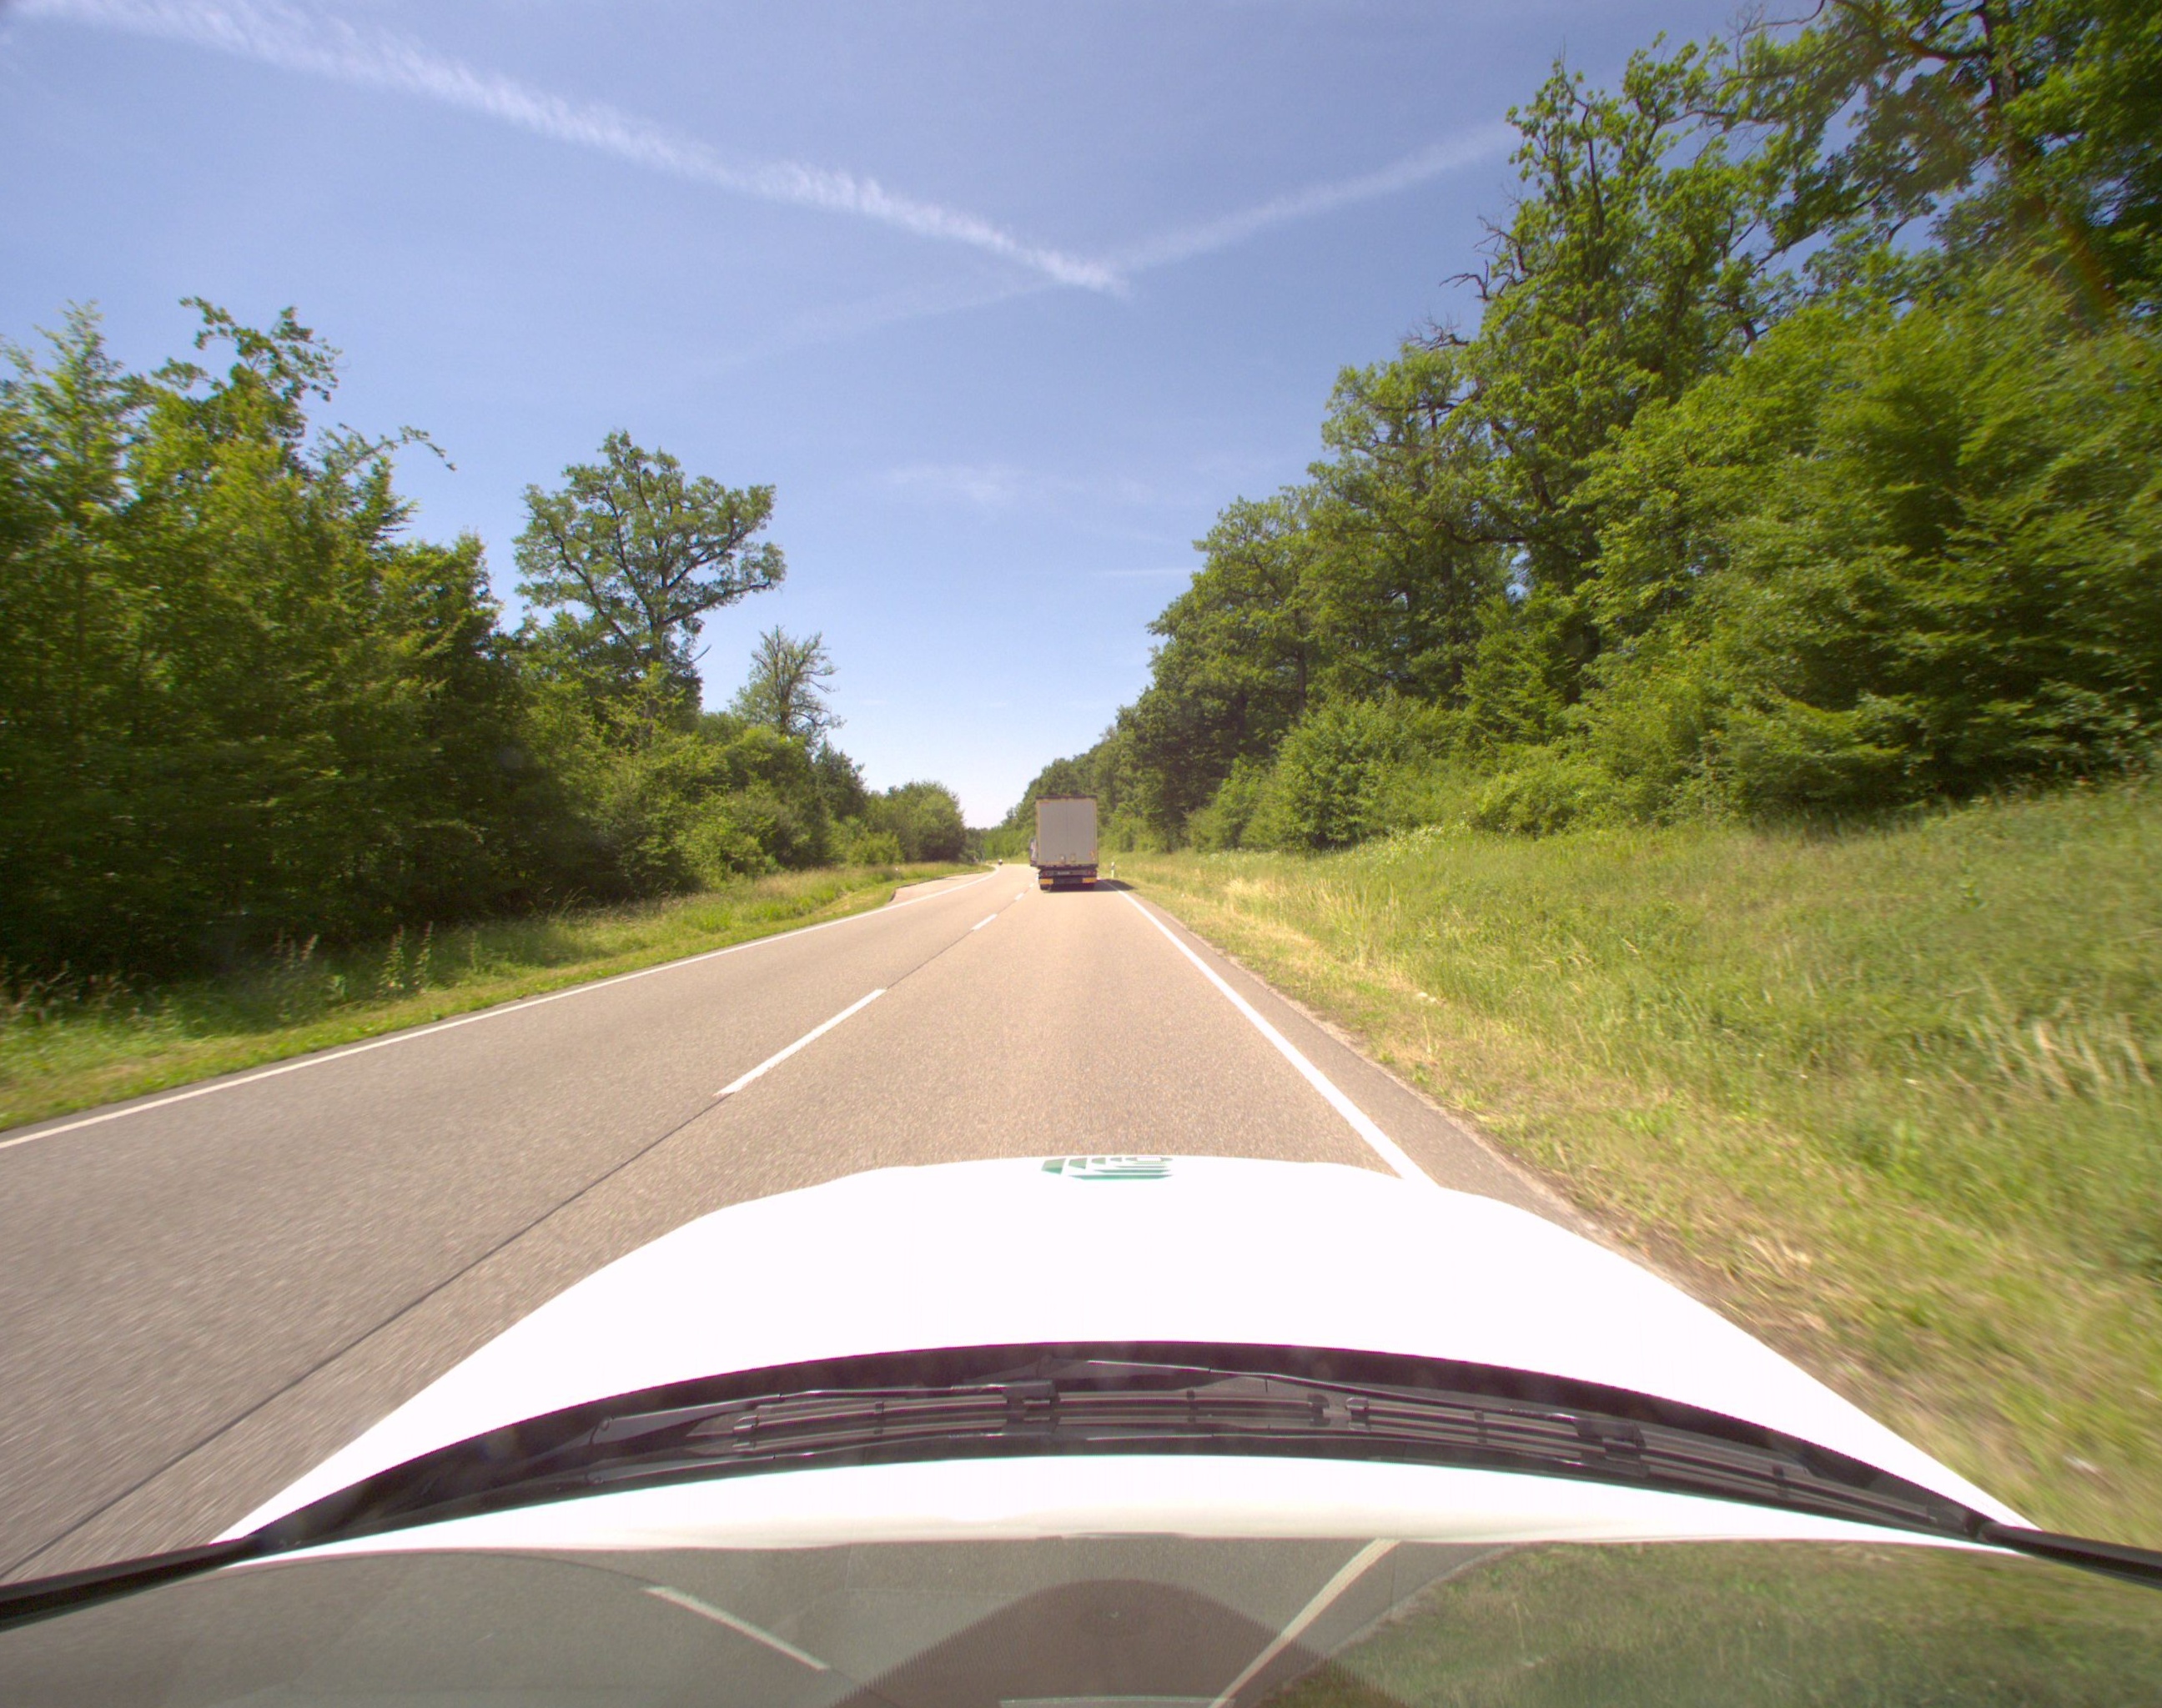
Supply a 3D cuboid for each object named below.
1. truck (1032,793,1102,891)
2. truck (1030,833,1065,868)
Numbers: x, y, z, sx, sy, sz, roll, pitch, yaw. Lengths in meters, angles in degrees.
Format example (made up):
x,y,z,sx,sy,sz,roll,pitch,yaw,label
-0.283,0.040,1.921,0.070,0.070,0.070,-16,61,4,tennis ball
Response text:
x,y,z,sx,sy,sz,roll,pitch,yaw,label
-0.569,-0.475,39.375,2.752,3.947,12.195,-1,0,0,truck
-4.687,-0.440,109.377,3.788,4.373,14.888,0,0,-6,truck
